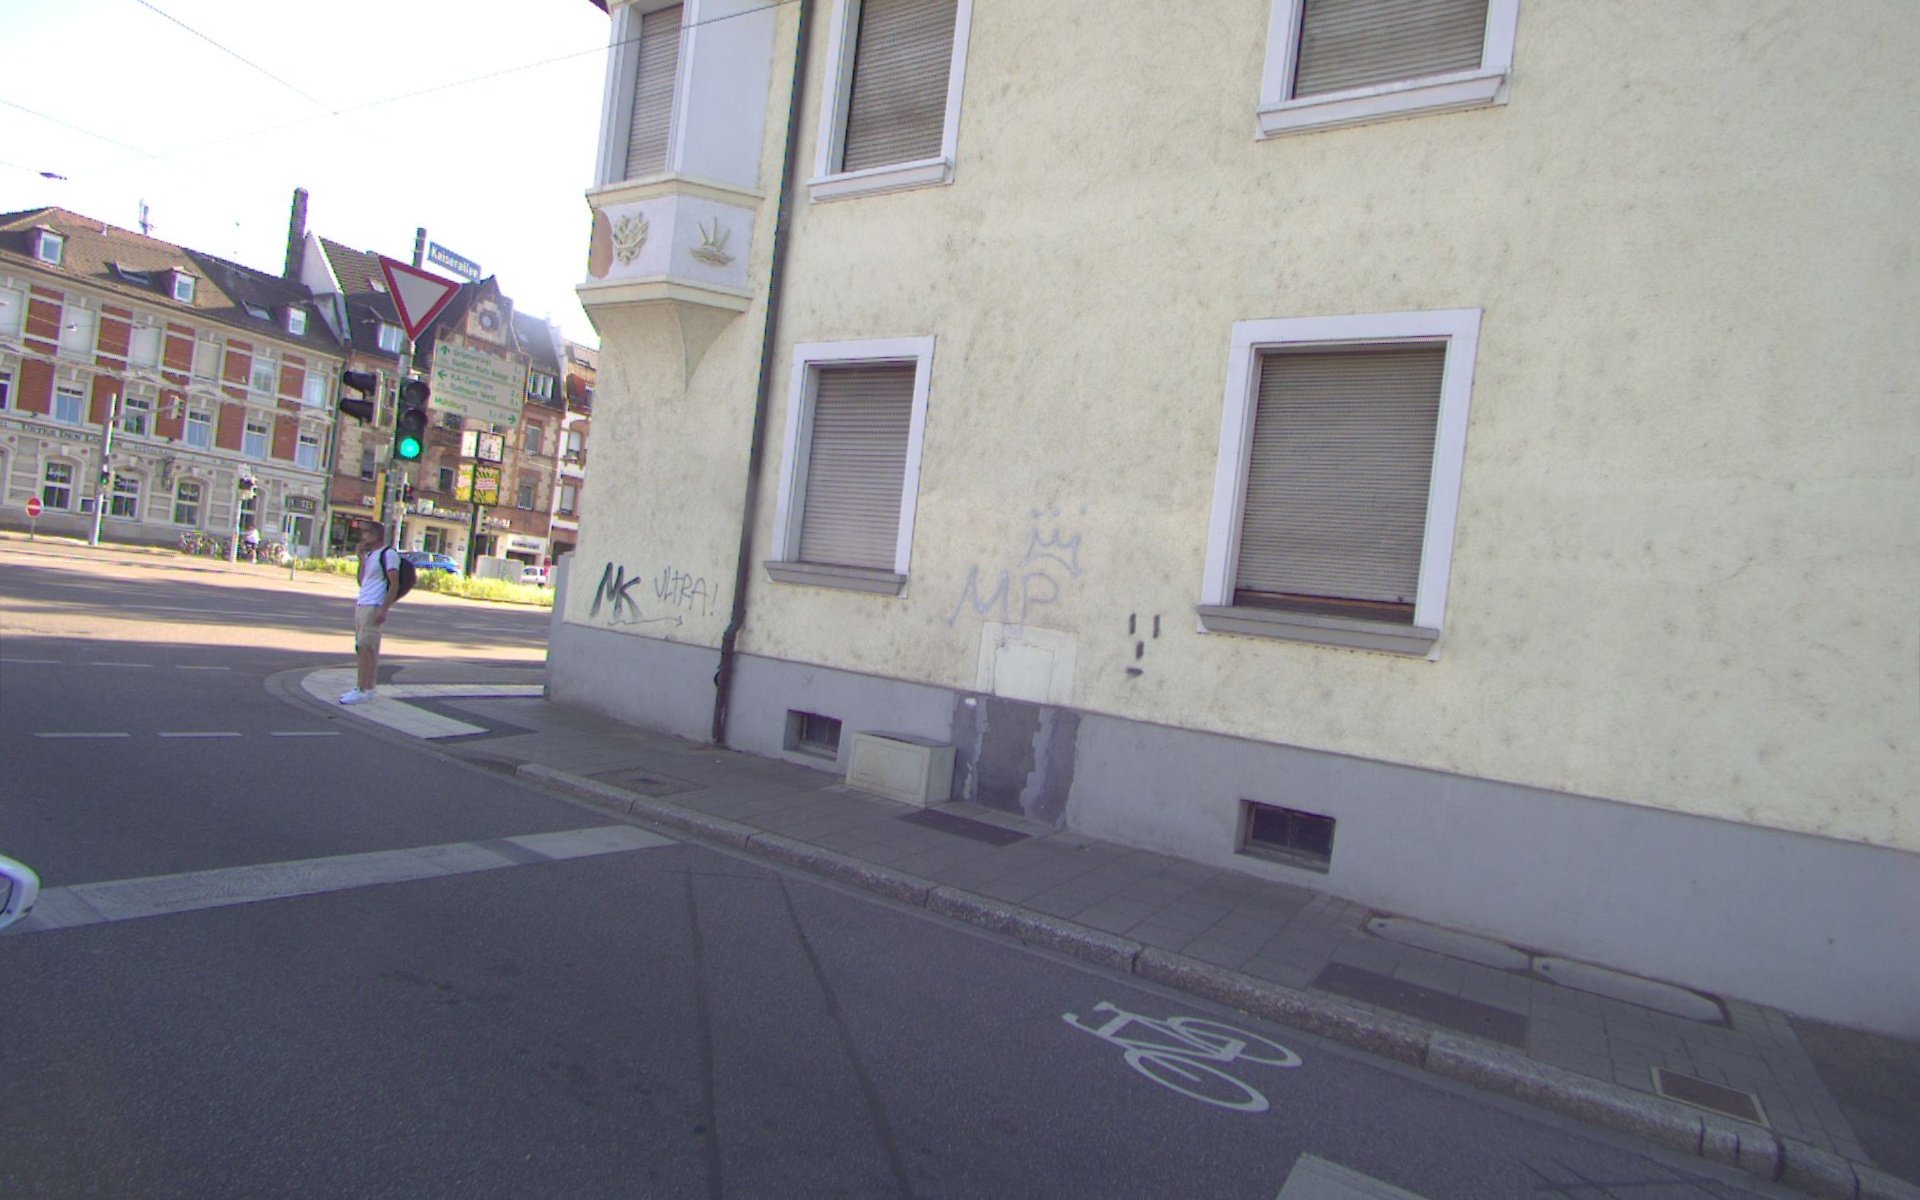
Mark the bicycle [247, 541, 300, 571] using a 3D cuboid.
[{"bbox_3d":[-32.864,-2.088,48.162,0.667,1.205,1.968,7,-1,20],"label":"bicycle"}]

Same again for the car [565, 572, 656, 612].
[{"bbox_3d":[-19.521,-0.410,56.362,1.922,1.688,4.480,7,-1,31],"label":"car"}]

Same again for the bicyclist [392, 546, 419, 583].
[{"bbox_3d":[-28.765,-1.823,52.193,0.591,1.785,0.905,7,0,27],"label":"bicyclist"}]

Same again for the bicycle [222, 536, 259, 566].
[{"bbox_3d":[-33.829,-2.300,47.310,1.935,1.205,0.678,7,0,33],"label":"bicycle"}]

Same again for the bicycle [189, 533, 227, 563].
[{"bbox_3d":[-34.526,-2.393,46.182,1.935,1.205,0.678,7,0,33],"label":"bicycle"}]

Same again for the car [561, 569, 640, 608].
[{"bbox_3d":[-23.236,-0.705,65.182,1.922,1.988,4.411,7,-1,31],"label":"car"}]

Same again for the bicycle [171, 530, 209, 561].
[{"bbox_3d":[-34.866,-2.477,45.568,1.935,1.205,0.678,7,0,33],"label":"bicycle"}]

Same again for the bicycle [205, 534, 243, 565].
[{"bbox_3d":[-34.187,-2.354,46.738,1.935,1.205,0.678,7,0,33],"label":"bicycle"}]

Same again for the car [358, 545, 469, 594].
[{"bbox_3d":[-25.385,-1.377,46.827,1.922,1.688,3.993,7,-1,31],"label":"car"}]

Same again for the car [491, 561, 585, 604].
[{"bbox_3d":[-21.902,-0.899,52.330,1.922,1.688,3.993,7,-1,31],"label":"car"}]

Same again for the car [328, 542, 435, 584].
[{"bbox_3d":[-27.811,-1.737,48.463,1.815,1.429,3.993,7,-1,31],"label":"car"}]

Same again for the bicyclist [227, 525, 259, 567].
[{"bbox_3d":[-32.361,-2.430,45.422,0.592,1.785,0.873,7,0,34],"label":"bicyclist"}]

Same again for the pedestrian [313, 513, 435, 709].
[{"bbox_3d":[-5.599,0.098,9.642,0.661,1.764,0.689,5,2,2],"label":"pedestrian"}]

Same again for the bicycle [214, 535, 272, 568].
[{"bbox_3d":[-32.378,-2.188,45.453,0.592,1.205,1.962,7,-1,34],"label":"bicycle"}]
